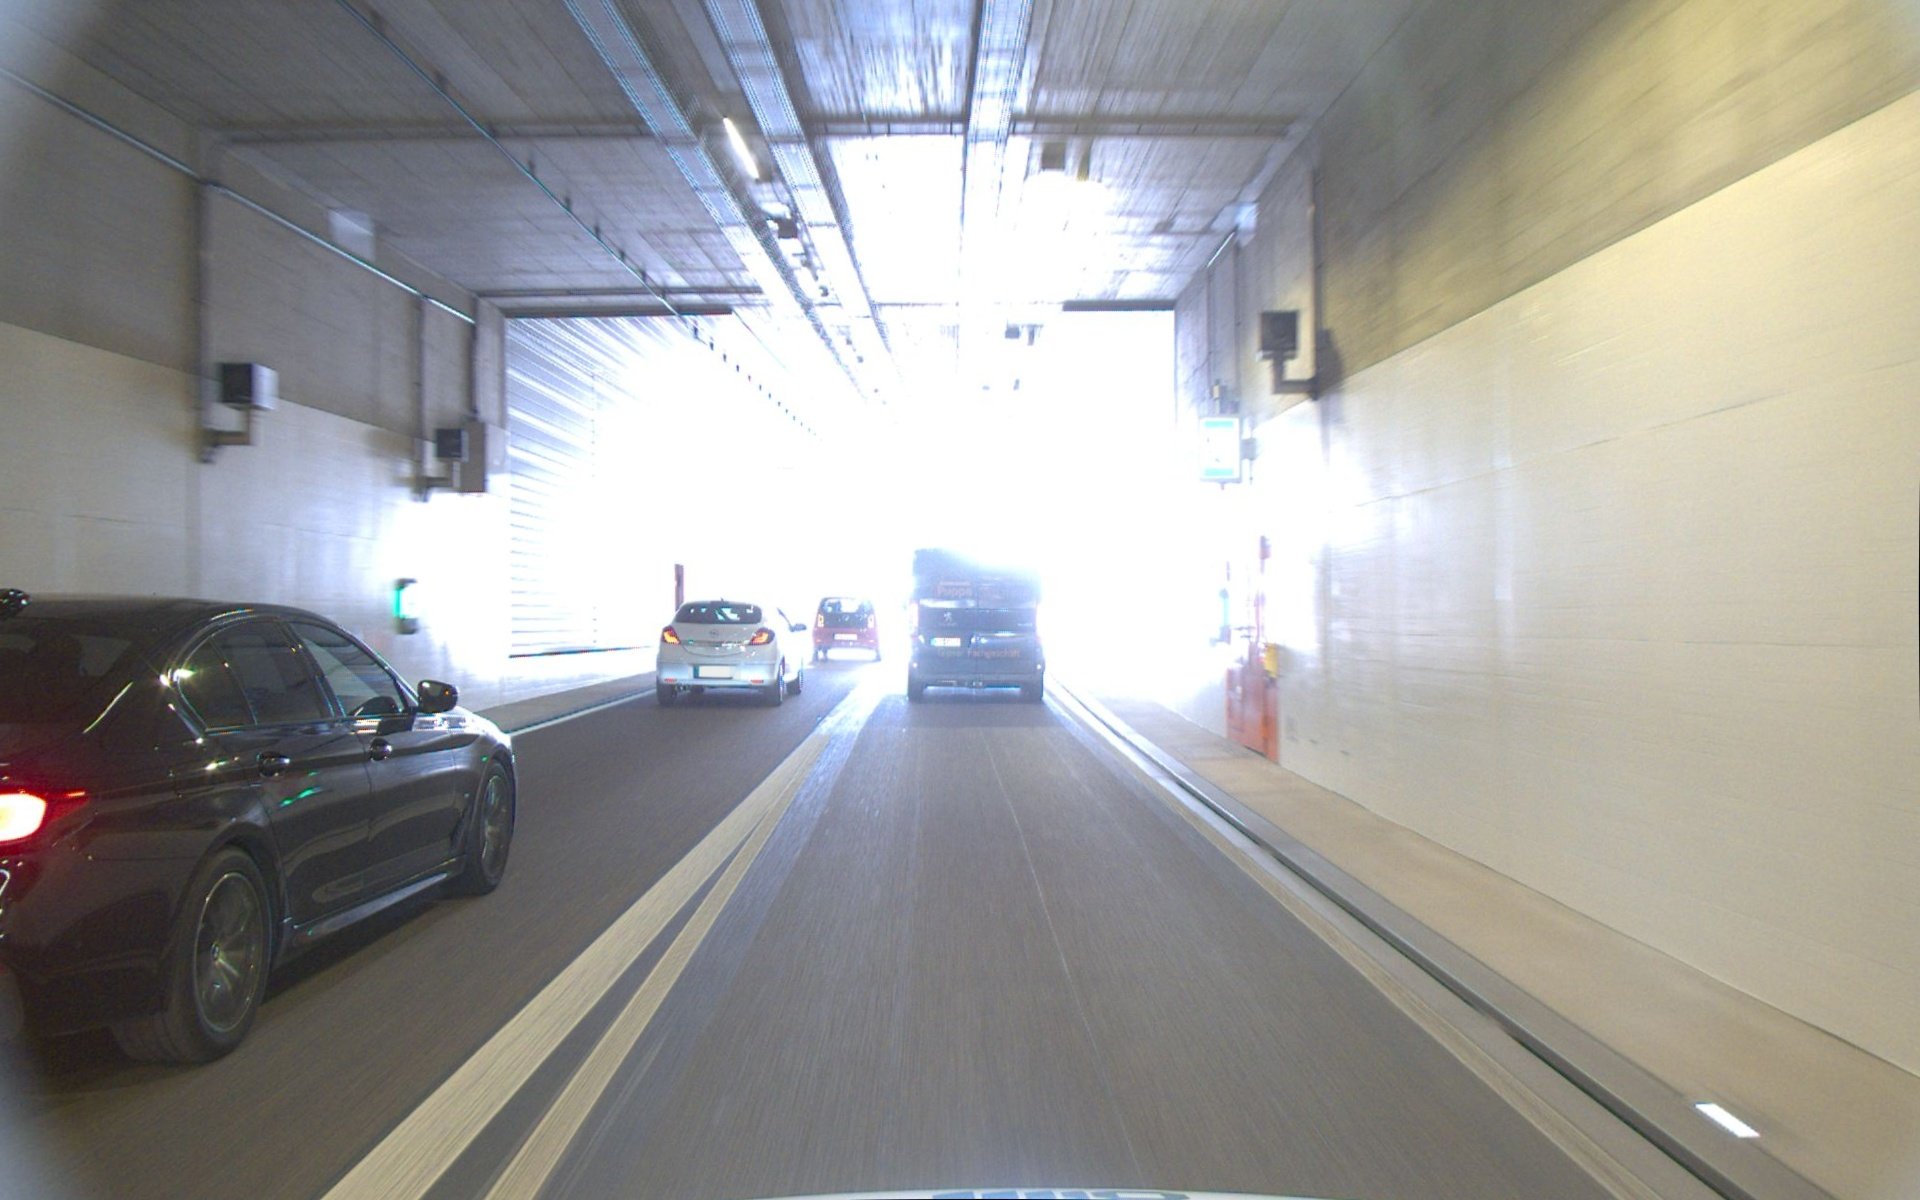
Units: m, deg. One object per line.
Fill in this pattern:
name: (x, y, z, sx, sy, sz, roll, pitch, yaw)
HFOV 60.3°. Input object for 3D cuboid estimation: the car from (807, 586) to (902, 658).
car: (-2.371, 0.458, 38.034, 1.777, 1.538, 4.221, 1, 1, 2)

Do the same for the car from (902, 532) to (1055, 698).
car: (0.271, 0.181, 25.359, 2.114, 2.305, 4.637, 0, 1, 0)

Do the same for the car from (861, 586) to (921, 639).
car: (-2.203, 0.419, 53.379, 1.838, 1.609, 4.218, 1, -1, -2)

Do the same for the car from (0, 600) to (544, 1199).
car: (-3.080, 0.730, 6.419, 1.661, 1.447, 4.851, 0, 0, 0)

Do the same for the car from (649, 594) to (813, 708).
car: (-3.117, 0.647, 23.231, 1.673, 1.438, 3.975, -1, 0, 1)
